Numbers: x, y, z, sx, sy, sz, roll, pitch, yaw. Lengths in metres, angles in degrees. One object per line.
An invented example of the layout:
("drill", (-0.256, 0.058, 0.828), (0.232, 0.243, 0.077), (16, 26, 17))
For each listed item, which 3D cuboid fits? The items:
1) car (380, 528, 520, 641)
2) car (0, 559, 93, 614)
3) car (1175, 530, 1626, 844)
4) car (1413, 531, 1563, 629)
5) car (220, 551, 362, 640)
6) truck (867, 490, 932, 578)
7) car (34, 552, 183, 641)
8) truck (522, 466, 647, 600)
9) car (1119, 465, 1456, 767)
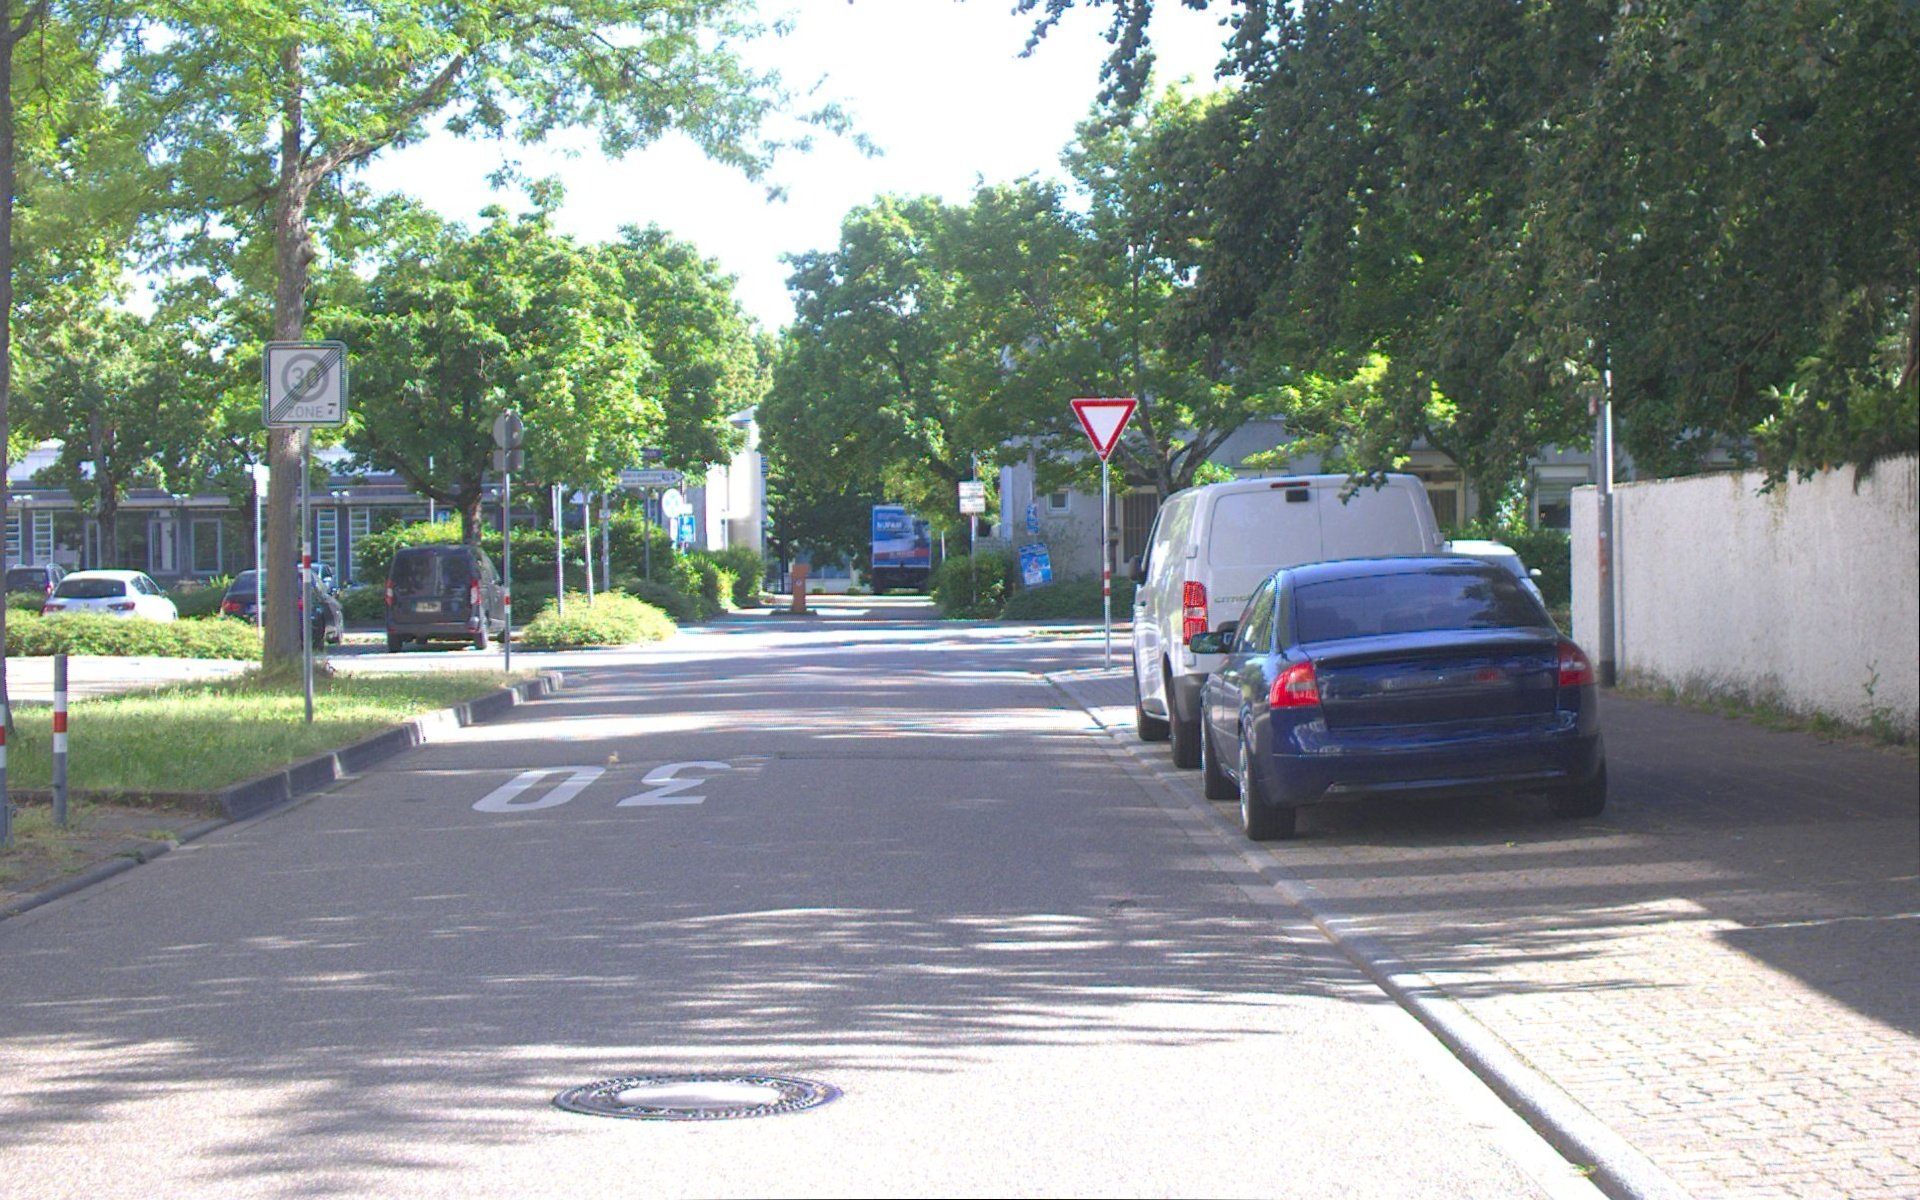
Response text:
("car", (-8.957, -0.301, 60.664), (1.874, 1.840, 4.169), (-1, 2, -1))
("car", (-26.708, -0.408, 100.092), (1.836, 1.492, 3.908), (-1, 1, 1))
("car", (2.238, 0.381, 18.551), (1.825, 1.418, 4.283), (-3, 1, 0))
("car", (9.269, -0.385, 60.623), (1.823, 1.592, 4.169), (-1, 2, -2))
("car", (-11.743, -0.102, 60.554), (1.823, 1.401, 4.169), (-1, 2, -2))
("truck", (-2.691, -2.966, 155.278), (2.760, 3.856, 9.330), (0, 1, 0))
("car", (-15.010, -0.085, 60.754), (1.802, 1.431, 3.913), (0, 2, -2))
("truck", (-11.049, -1.977, 101.806), (2.802, 3.793, 6.924), (1, 1, 1))
("car", (2.232, 0.063, 24.774), (1.898, 1.907, 5.148), (-1, 1, 0))
